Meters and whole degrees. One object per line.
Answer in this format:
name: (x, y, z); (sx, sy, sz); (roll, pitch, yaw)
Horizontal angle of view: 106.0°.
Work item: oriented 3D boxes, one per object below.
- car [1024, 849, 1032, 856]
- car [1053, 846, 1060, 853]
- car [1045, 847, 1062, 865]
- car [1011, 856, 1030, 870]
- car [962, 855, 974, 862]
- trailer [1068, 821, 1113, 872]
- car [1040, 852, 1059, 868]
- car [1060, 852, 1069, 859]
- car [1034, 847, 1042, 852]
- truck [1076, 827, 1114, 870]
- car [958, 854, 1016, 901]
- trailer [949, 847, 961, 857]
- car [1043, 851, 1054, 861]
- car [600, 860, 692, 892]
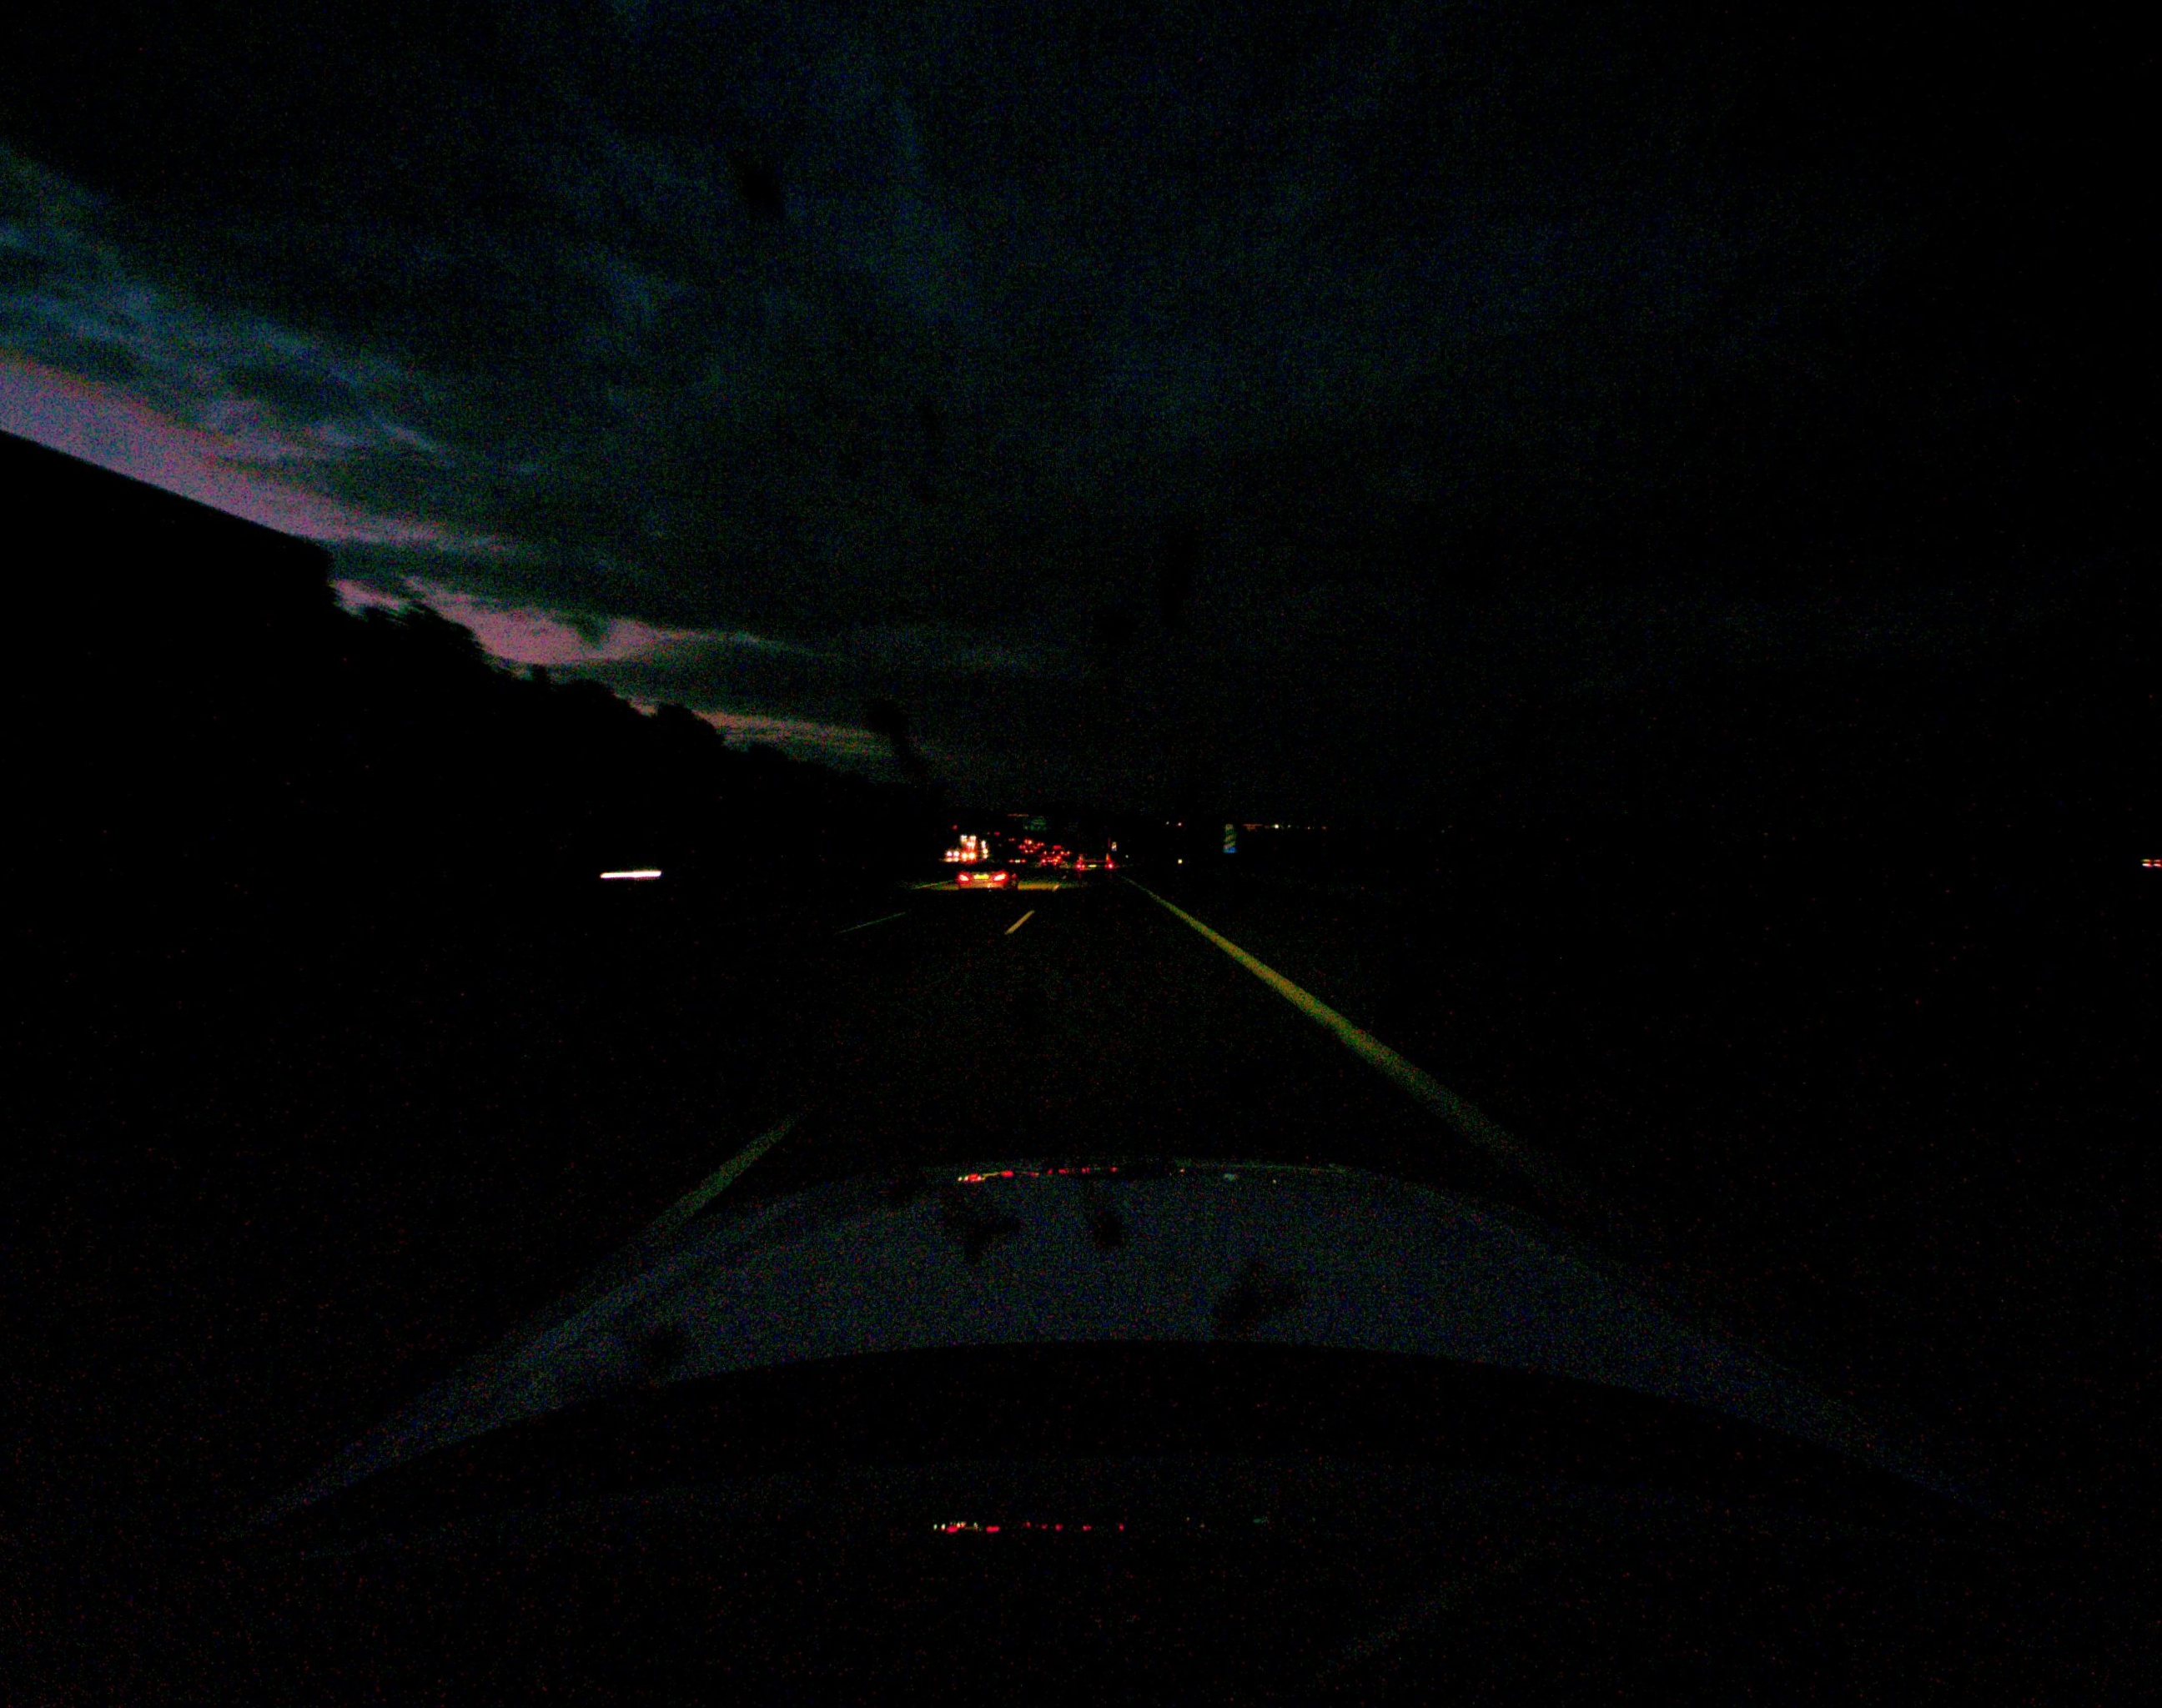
car: (-13.393, -0.393, 206.632); (1.989, 1.622, 3.995); (0, 0, -3)
car: (-7.180, -1.348, 241.087); (1.990, 1.978, 3.993); (0, 0, -5)
car: (-3.613, 0.293, 107.279); (1.987, 2.380, 4.000); (0, 0, 0)
car: (-6.716, 1.000, 90.557); (1.756, 1.575, 4.576); (0, 0, 0)
car: (-21.901, 0.820, 157.862); (1.684, 1.354, 4.896); (0, 0, 0)
trailer: (1.083, -0.543, 72.824); (3.536, 4.116, 15.071); (0, -1, 2)
car: (-3.384, 0.665, 88.101); (2.060, 1.686, 4.572); (0, 0, -2)
car: (-3.578, 0.255, 175.128); (1.989, 1.534, 3.995); (0, 0, -3)
car: (-13.418, -1.387, 253.996); (1.991, 1.622, 3.991); (0, 0, -6)
truck: (1.467, -0.471, 79.802); (3.536, 4.091, 6.155); (0, -1, 2)
car: (-3.460, 0.822, 30.726); (1.902, 1.614, 4.797); (0, 0, -4)
trailer: (-26.764, -0.425, 173.056); (1.907, 2.002, 4.239); (1, 0, 0)
car: (-6.691, 0.451, 167.371); (1.990, 2.014, 3.994); (0, 0, -5)
car: (-22.544, 1.100, 42.458); (1.986, 1.534, 5.007); (0, 0, 1)
